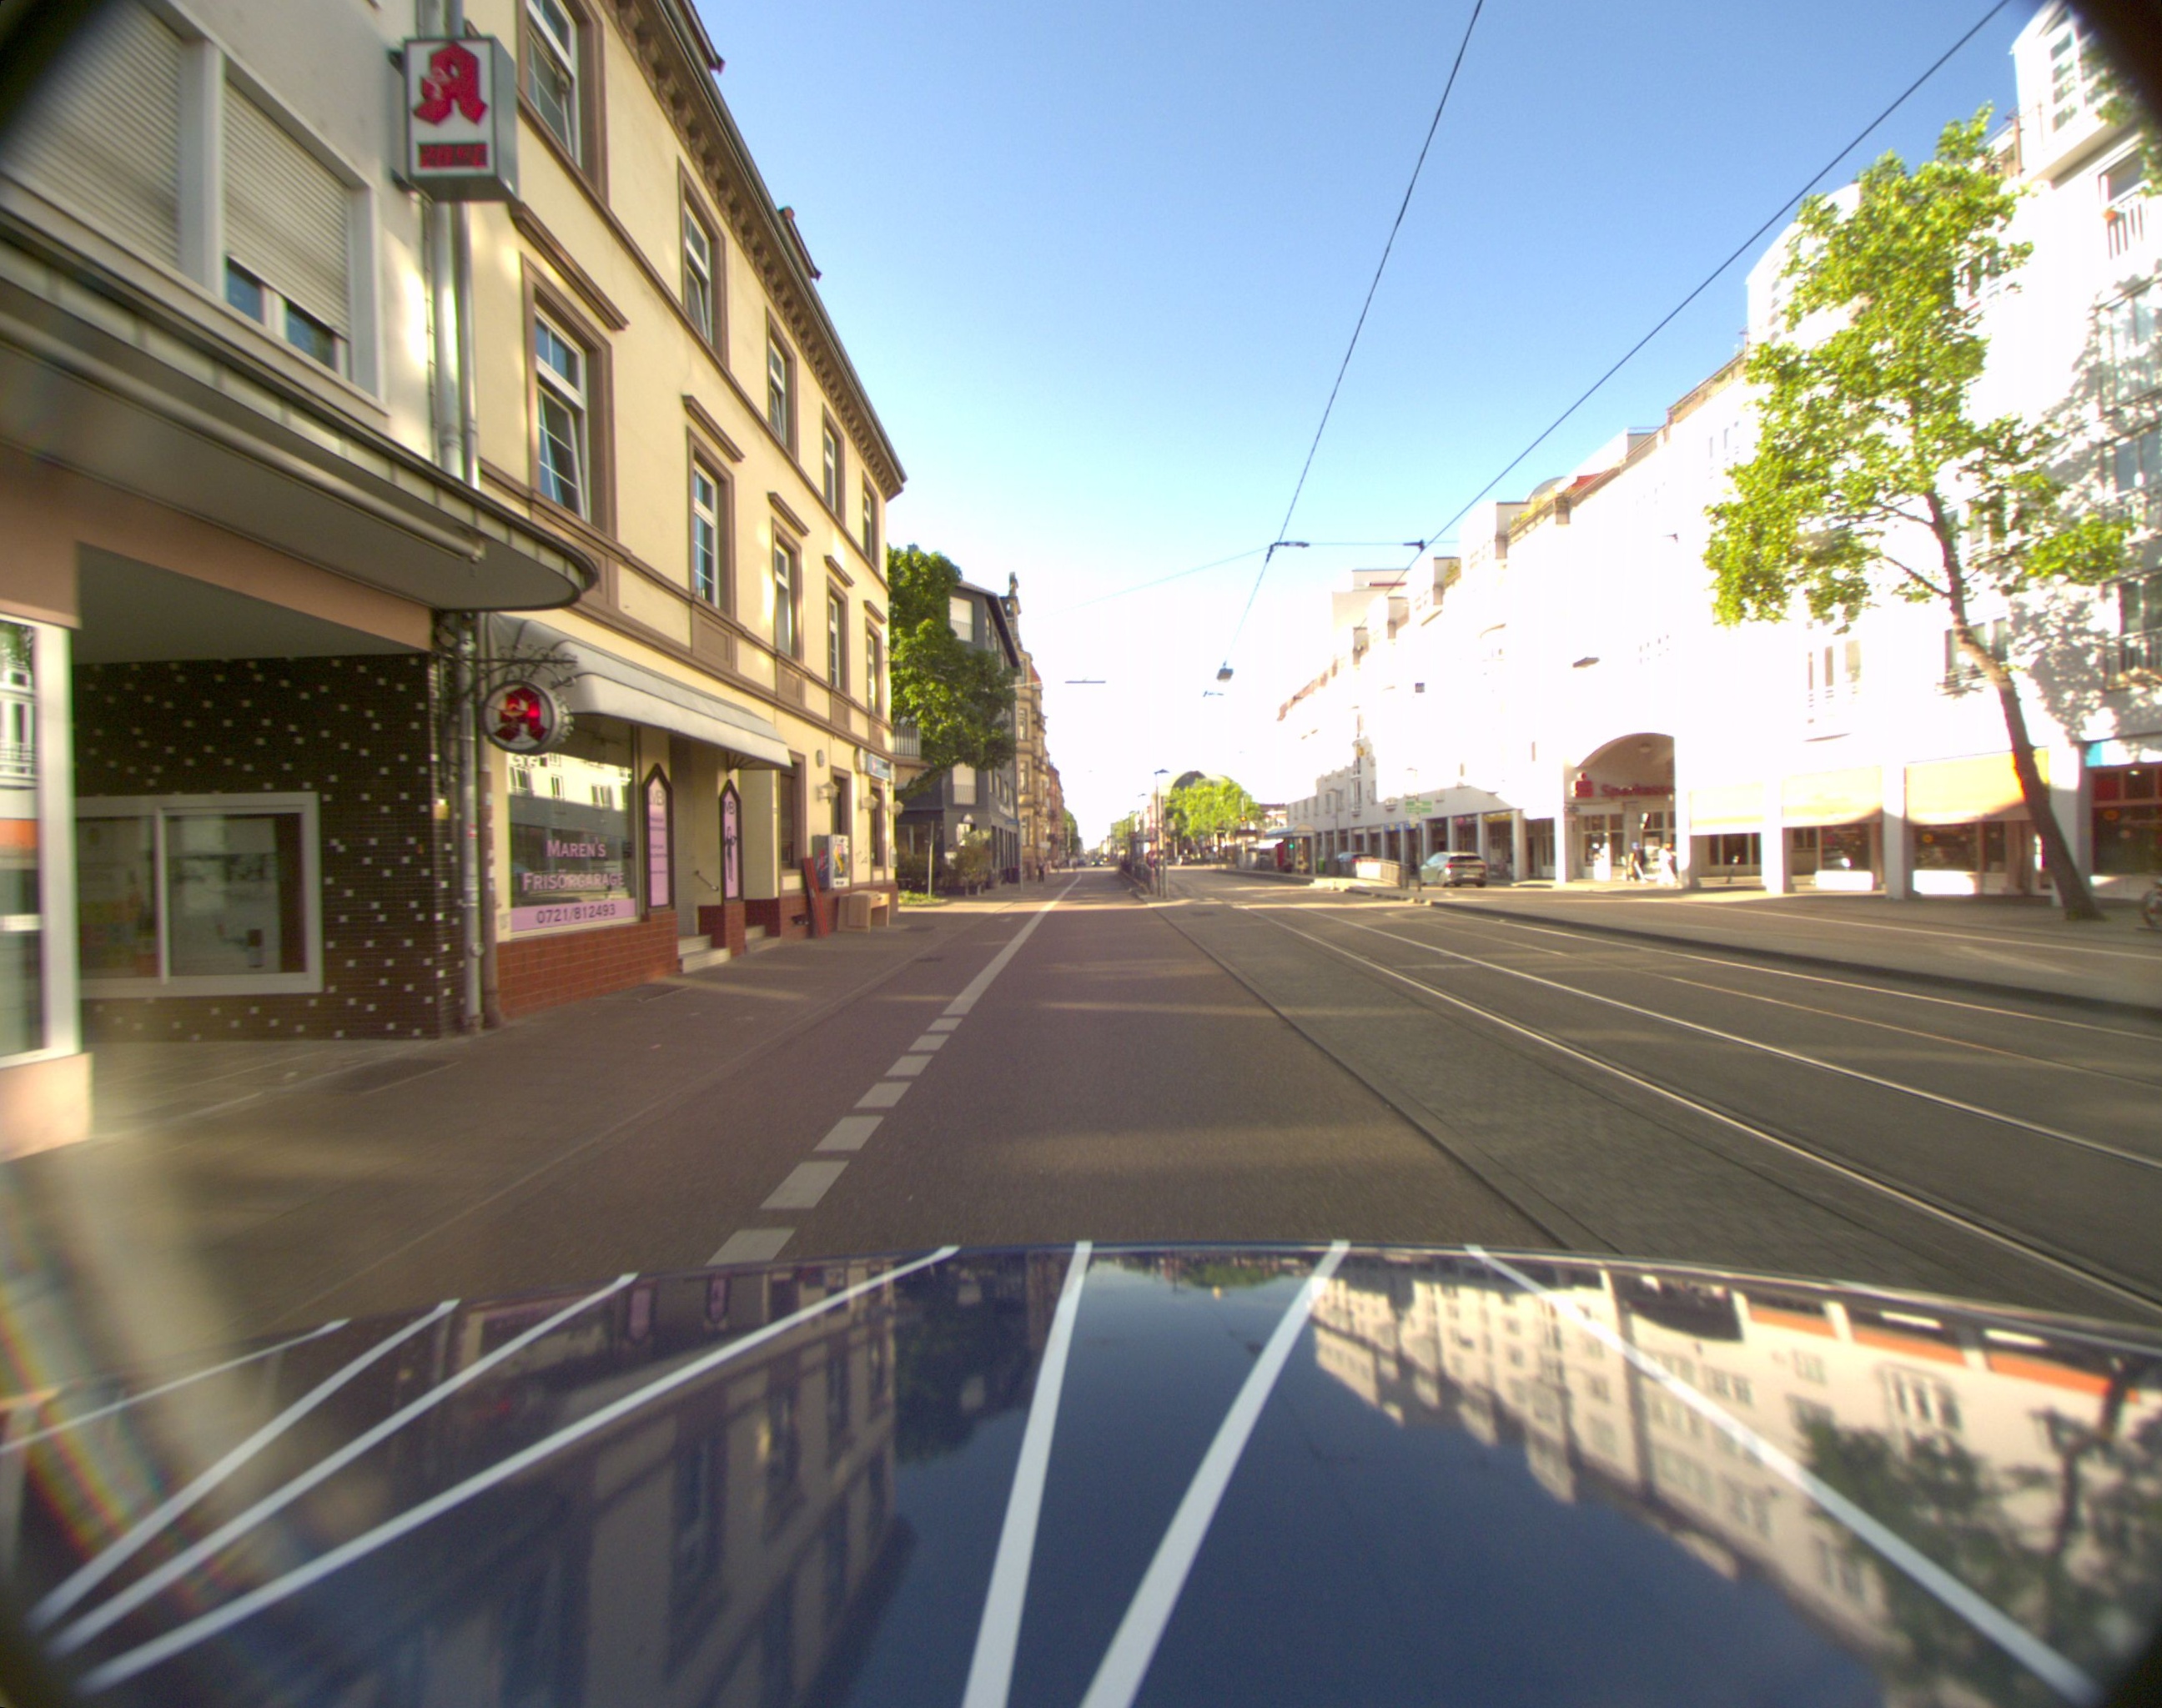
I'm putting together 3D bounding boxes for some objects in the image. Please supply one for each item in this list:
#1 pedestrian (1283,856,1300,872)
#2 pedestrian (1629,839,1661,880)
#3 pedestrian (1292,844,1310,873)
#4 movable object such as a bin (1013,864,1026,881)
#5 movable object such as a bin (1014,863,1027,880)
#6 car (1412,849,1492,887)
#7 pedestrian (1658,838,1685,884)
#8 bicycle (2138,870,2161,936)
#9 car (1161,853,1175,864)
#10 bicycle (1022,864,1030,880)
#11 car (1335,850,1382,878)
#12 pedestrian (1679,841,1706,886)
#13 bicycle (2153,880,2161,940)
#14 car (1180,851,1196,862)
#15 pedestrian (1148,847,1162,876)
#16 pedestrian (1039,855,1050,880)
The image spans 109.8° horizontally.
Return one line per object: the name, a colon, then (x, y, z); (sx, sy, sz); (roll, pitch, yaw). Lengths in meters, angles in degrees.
pedestrian: (13.326, 0.635, 48.113); (0.794, 0.982, 0.747); (-2, 1, 1)
pedestrian: (22.947, 0.210, 30.932); (0.747, 1.635, 0.731); (-1, 1, 1)
pedestrian: (12.740, 0.270, 43.929); (0.794, 1.635, 0.747); (-2, 0, 1)
movable object such as a bin: (-3.891, 1.160, 47.812); (0.717, 1.062, 0.637); (-2, 0, 0)
movable object such as a bin: (-3.869, 1.138, 48.642); (0.717, 1.062, 0.637); (-2, 0, 0)
car: (16.251, 0.582, 33.513); (1.783, 1.531, 4.269); (1, 0, 6)
pedestrian: (21.447, 0.242, 27.598); (0.563, 1.635, 0.523); (-1, 1, 1)
bicycle: (18.634, 0.797, 12.392); (1.877, 1.071, 0.511); (-1, 1, 6)
car: (16.171, 0.840, 141.227); (1.999, 1.892, 3.999); (-2, 0, -2)
bicycle: (-3.756, 1.236, 52.047); (0.377, 1.052, 1.513); (-2, 0, 1)
car: (17.411, 0.627, 47.835); (1.783, 1.658, 4.774); (0, 0, 7)
pedestrian: (22.178, 0.349, 27.574); (0.563, 1.635, 0.523); (-1, 0, 1)
bicycle: (16.987, 0.872, 11.069); (0.470, 0.926, 1.755); (-2, 0, 10)
car: (16.979, 0.363, 121.134); (1.998, 1.608, 4.000); (-2, 0, 1)
pedestrian: (4.183, 0.419, 43.065); (0.716, 1.635, 0.400); (-1, 1, 3)
pedestrian: (-2.509, 0.894, 52.041); (0.695, 1.680, 0.688); (-2, 0, 1)
